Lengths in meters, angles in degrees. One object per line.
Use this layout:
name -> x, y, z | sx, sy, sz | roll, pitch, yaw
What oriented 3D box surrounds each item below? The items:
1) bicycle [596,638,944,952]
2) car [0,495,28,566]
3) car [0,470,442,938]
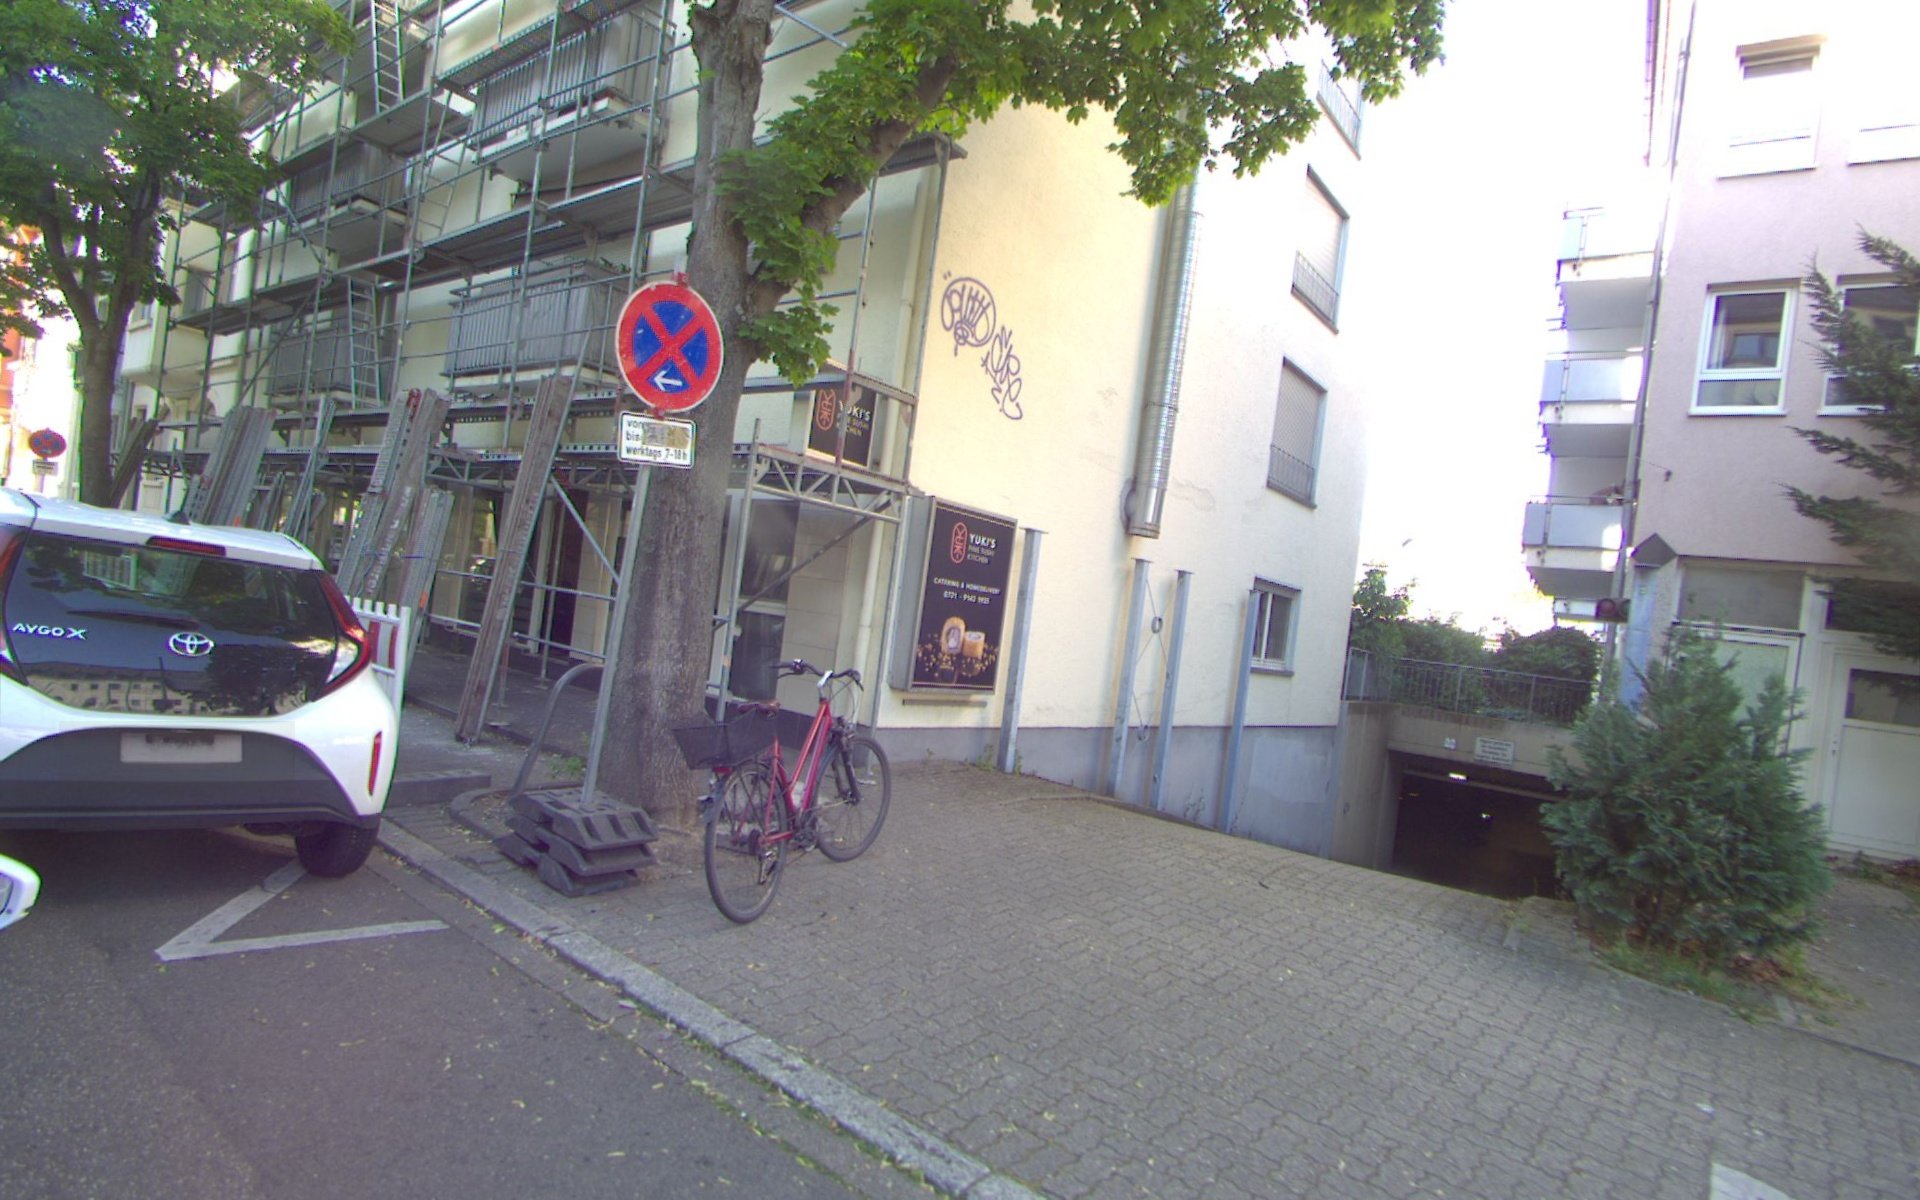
bicycle -> -0.846, 0.842, 5.175 | 0.713, 1.181, 1.984 | 7, 2, 21
car -> -21.786, -1.700, 22.004 | 3.332, 1.425, 1.557 | 7, -3, 41
car -> -4.186, 0.281, 4.807 | 3.354, 1.562, 1.676 | 7, -3, 39
